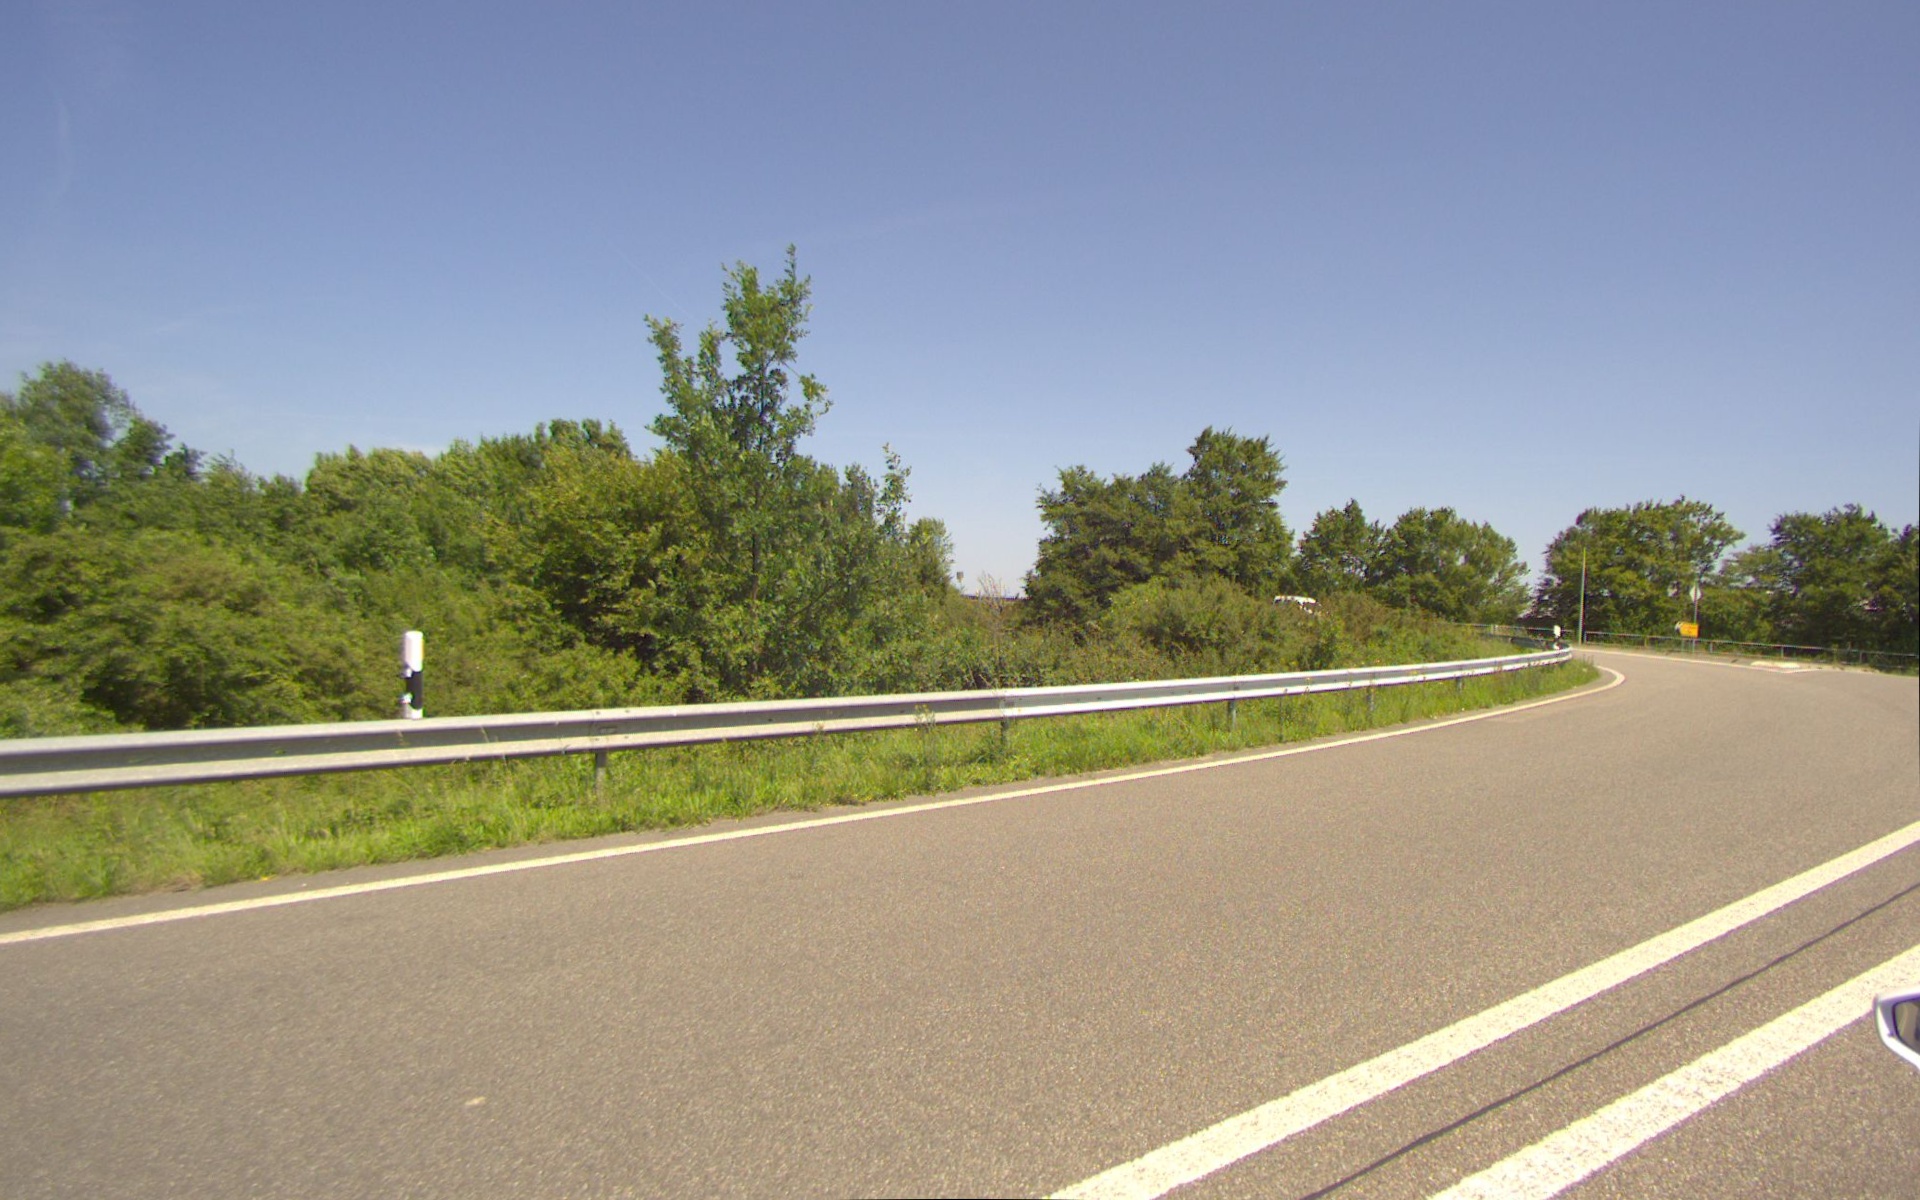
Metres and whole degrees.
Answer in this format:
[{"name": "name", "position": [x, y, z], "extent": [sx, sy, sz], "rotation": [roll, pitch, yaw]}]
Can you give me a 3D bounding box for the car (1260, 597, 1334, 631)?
[{"name": "car", "position": [18.896, 0.748, 56.464], "extent": [1.717, 1.785, 4.061], "rotation": [1, 0, -22]}]
